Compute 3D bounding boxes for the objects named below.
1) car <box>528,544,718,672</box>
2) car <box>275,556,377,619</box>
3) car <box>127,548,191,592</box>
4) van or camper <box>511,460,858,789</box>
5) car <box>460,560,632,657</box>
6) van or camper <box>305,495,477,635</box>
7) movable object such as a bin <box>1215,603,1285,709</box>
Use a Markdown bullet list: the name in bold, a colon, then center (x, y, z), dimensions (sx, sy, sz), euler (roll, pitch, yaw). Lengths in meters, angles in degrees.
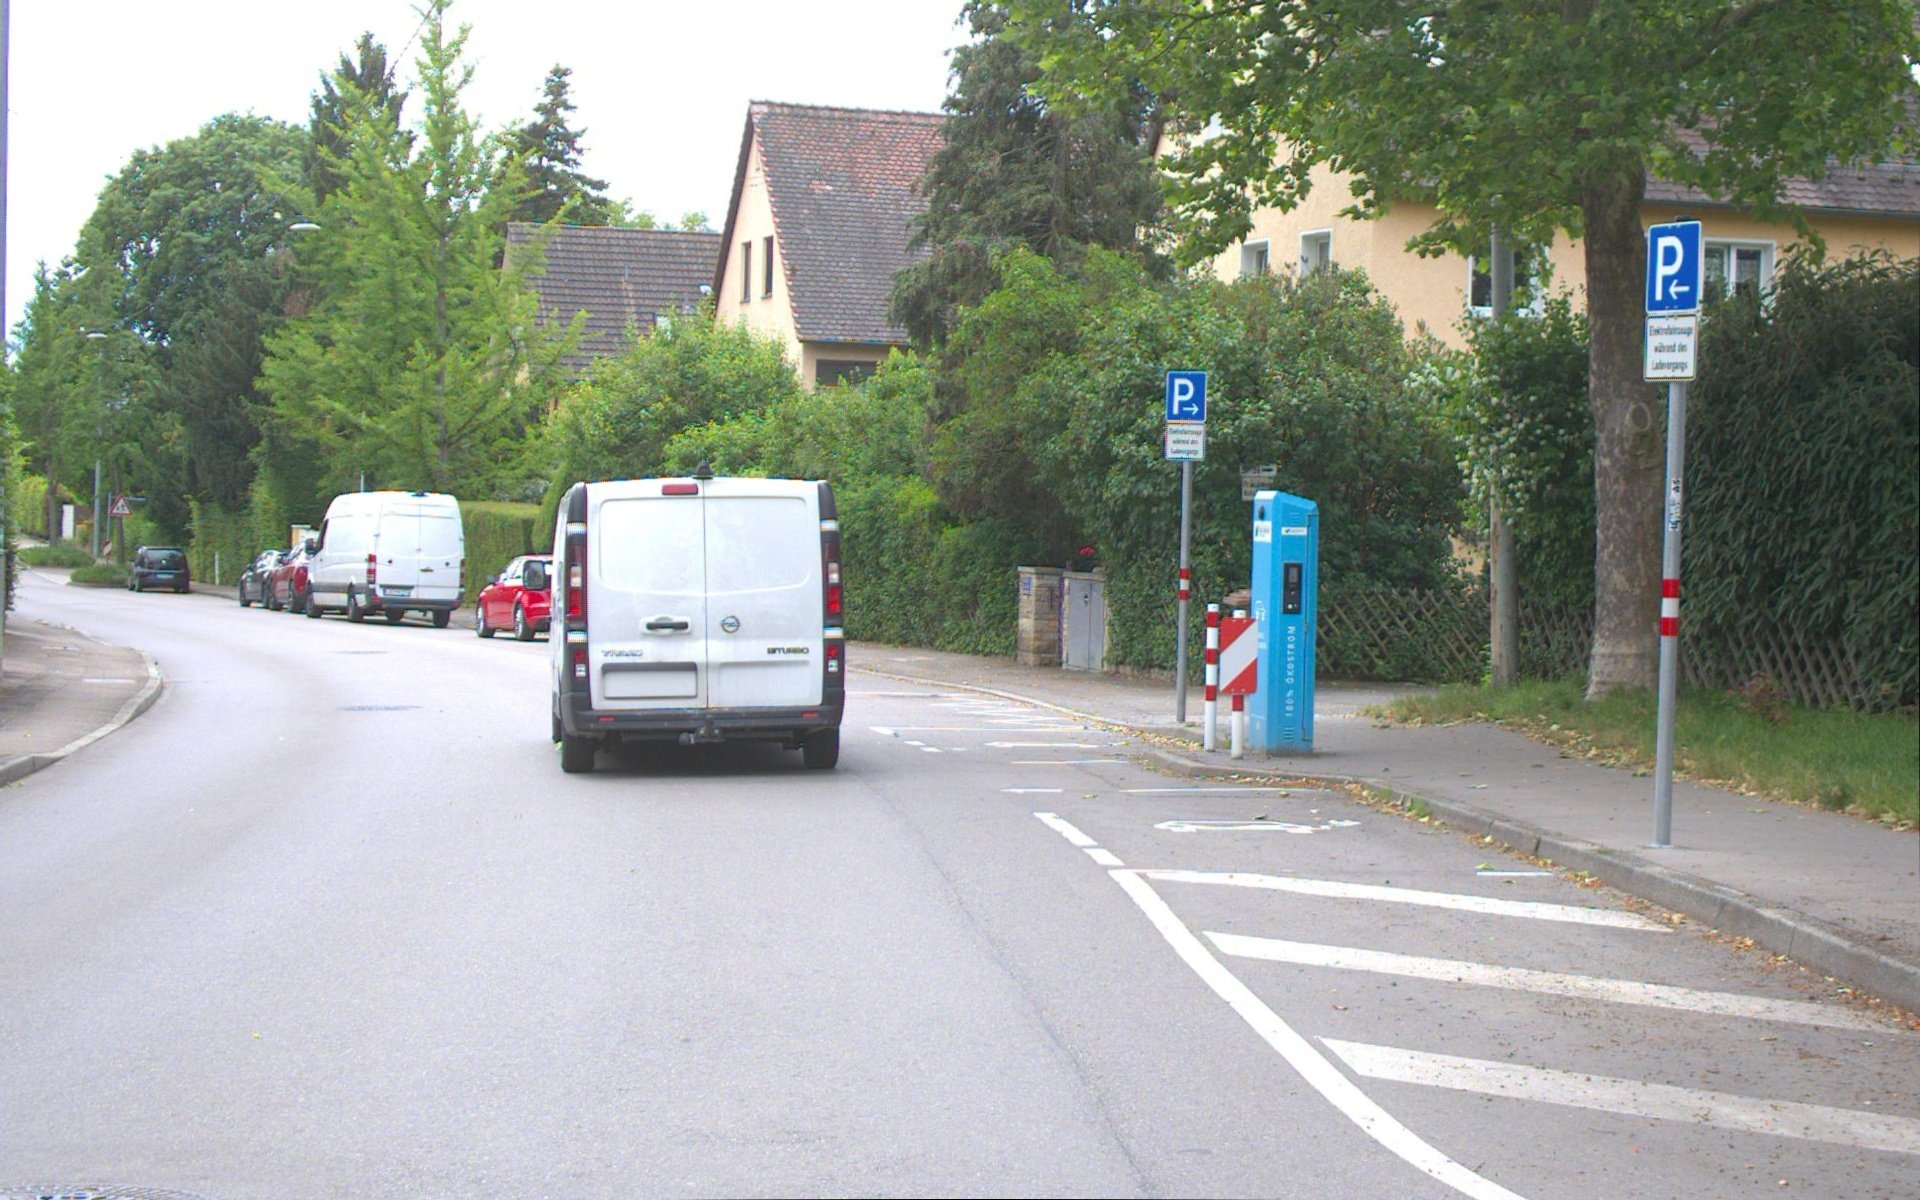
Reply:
- **car**: center (-5.155, 0.080, 52.009), dimensions (1.760, 1.791, 4.950), euler (1, 1, -18)
- **car**: center (-14.262, -0.291, 77.222), dimensions (1.530, 1.300, 4.032), euler (1, 1, -21)
- **car**: center (-25.227, -0.960, 108.233), dimensions (1.530, 1.300, 3.228), euler (1, 1, -21)
- **van or camper**: center (-2.066, 0.070, 24.348), dimensions (1.923, 2.006, 4.831), euler (2, 2, -10)
- **car**: center (-6.895, 0.123, 56.907), dimensions (1.712, 1.462, 4.269), euler (1, 1, -22)
- **van or camper**: center (-11.637, -0.730, 69.883), dimensions (2.066, 2.665, 6.330), euler (2, 0, -22)
- **movable object such as a bin**: center (3.003, 0.576, 35.625), dimensions (0.603, 1.066, 0.568), euler (2, 0, -5)
